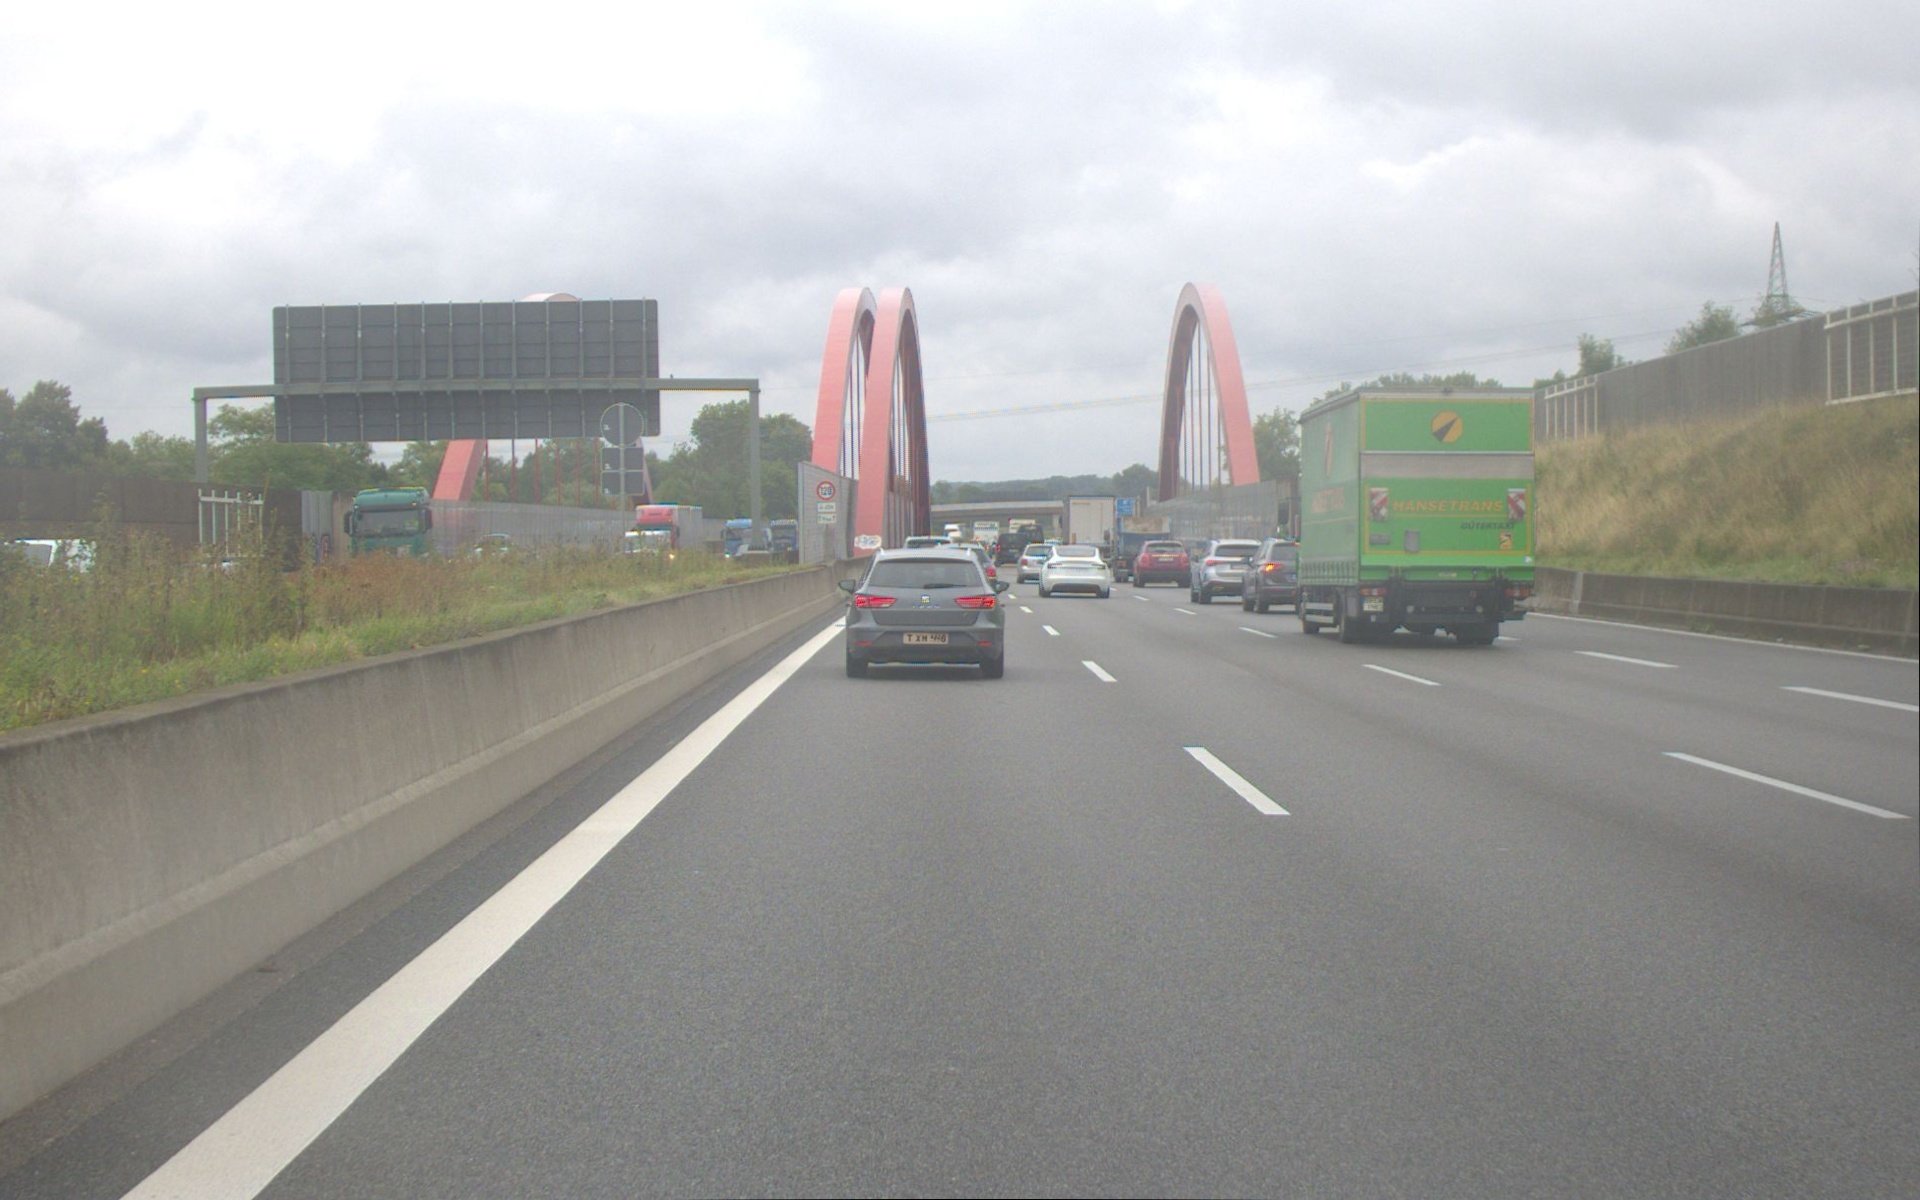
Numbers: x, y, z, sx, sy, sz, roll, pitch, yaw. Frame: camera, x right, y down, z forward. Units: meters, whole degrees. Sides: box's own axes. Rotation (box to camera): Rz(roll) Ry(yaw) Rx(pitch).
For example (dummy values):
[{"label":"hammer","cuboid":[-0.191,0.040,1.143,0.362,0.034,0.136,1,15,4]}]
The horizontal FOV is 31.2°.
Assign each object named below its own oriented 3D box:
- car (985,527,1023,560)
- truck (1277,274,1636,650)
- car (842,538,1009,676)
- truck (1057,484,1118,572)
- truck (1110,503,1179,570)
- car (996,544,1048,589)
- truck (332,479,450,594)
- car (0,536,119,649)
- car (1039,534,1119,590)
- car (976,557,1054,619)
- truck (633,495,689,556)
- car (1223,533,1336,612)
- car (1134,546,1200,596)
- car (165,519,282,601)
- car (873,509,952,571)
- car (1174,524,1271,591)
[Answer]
[{"label":"car","cuboid":[2.389,-3.097,187.915,1.993,1.809,4.000,0,1,0]},{"label":"truck","cuboid":[7.554,-2.049,54.320,3.997,5.248,11.220,1,1,0]},{"label":"car","cuboid":[-0.354,0.037,38.527,1.764,1.448,4.000,0,1,1]},{"label":"truck","cuboid":[7.060,-3.990,190.685,3.044,4.718,7.680,1,1,0]},{"label":"truck","cuboid":[7.042,-2.431,131.763,2.361,2.498,6.144,0,1,0]},{"label":"car","cuboid":[2.219,-1.216,123.493,1.702,1.538,3.839,0,1,-1]},{"label":"truck","cuboid":[-19.585,-2.188,118.709,2.862,3.825,7.523,1,1,-1]},{"label":"car","cuboid":[-17.616,-0.192,65.185,1.907,2.007,5.954,0,1,0]},{"label":"car","cuboid":[3.219,-1.064,93.632,1.993,1.481,4.000,0,1,-1]},{"label":"car","cuboid":[1.287,-0.295,81.628,1.782,1.401,3.626,0,1,0]},{"label":"truck","cuboid":[-18.506,-4.631,213.270,2.984,3.740,5.917,0,1,0]},{"label":"car","cuboid":[6.943,-0.617,75.088,1.911,1.664,4.105,0,1,-2]},{"label":"car","cuboid":[7.016,-1.004,116.909,1.957,1.641,4.000,1,1,-1]},{"label":"car","cuboid":[-18.712,-1.038,87.505,1.993,2.007,4.652,0,1,0]},{"label":"car","cuboid":[-1.251,-1.588,90.415,1.993,1.579,4.000,-1,1,-1]},{"label":"car","cuboid":[6.626,-1.096,87.288,1.993,1.613,5.328,1,1,-1]}]
